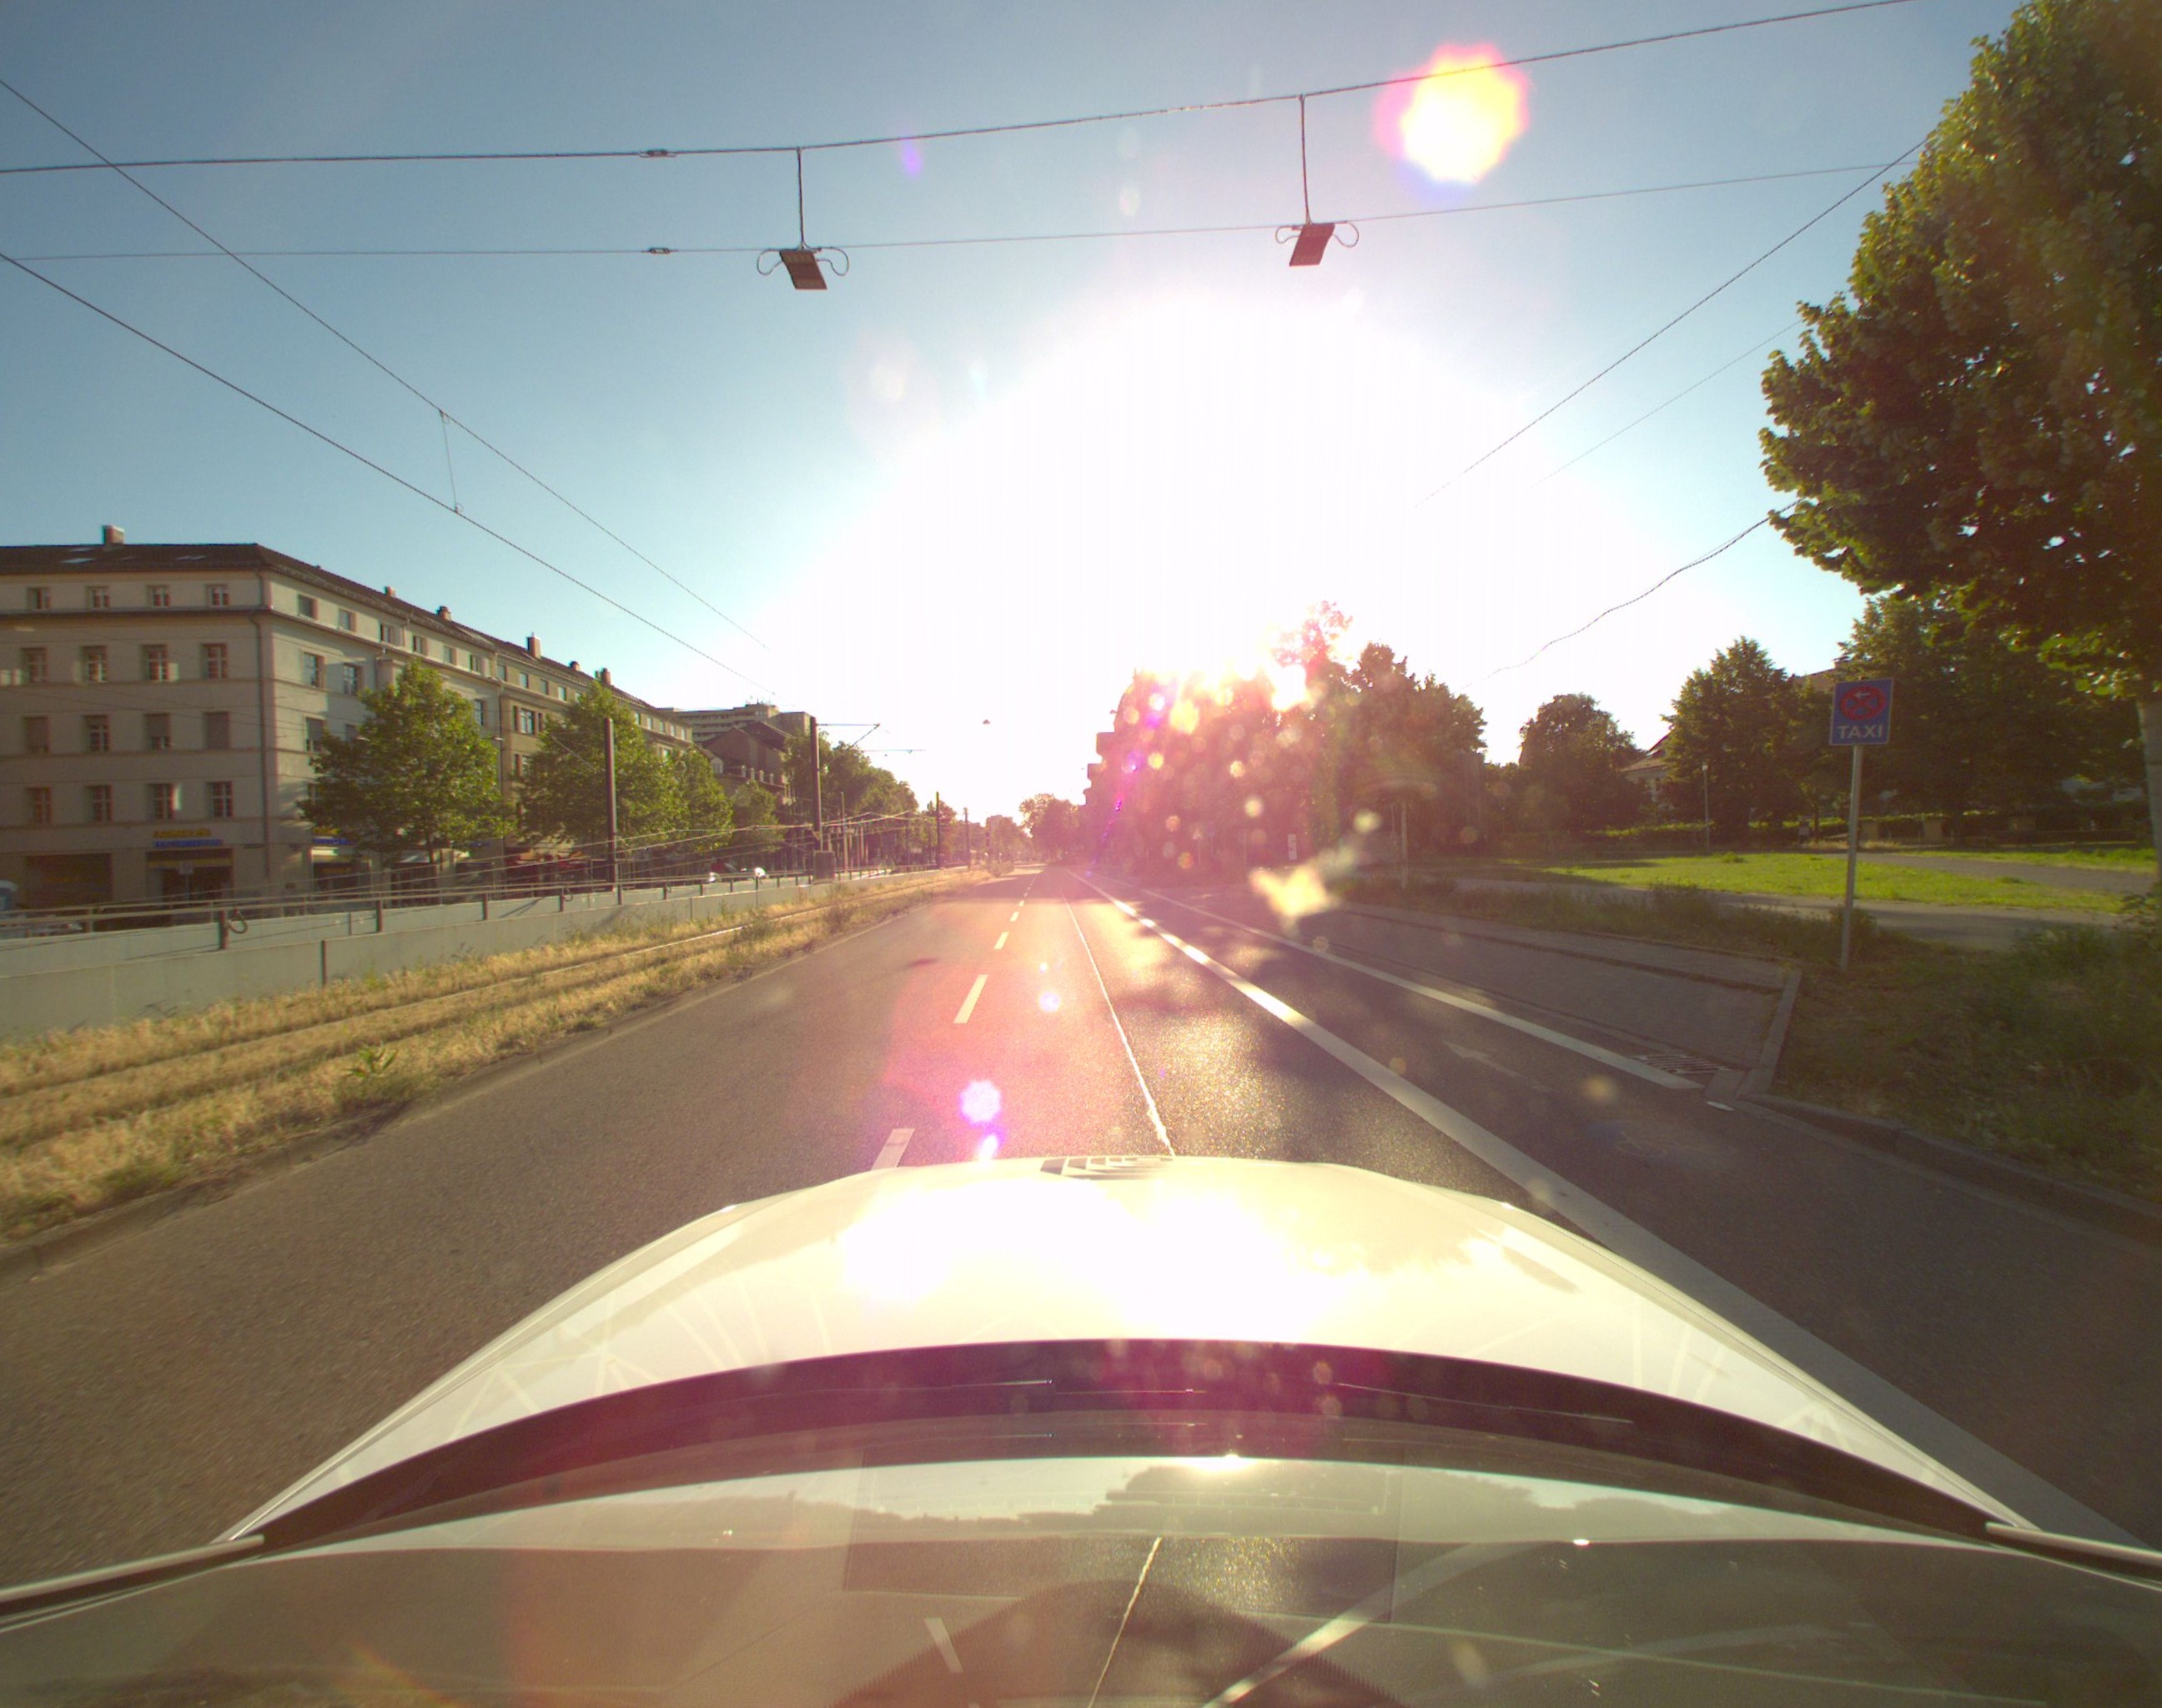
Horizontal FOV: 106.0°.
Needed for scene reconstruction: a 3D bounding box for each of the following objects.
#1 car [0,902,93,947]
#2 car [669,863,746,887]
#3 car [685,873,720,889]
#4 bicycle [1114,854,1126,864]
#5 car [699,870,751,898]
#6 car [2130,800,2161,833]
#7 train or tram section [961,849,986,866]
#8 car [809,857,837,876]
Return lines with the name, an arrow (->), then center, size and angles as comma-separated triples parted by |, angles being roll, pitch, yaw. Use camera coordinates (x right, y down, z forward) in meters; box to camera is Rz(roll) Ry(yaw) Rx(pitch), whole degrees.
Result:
car -> -40.696, 2.711, 30.906 | 3.974, 1.486, 1.898 | -3, 0, 0
car -> -41.483, 2.315, 90.554 | 7.262, 2.266, 2.464 | -3, 0, -8
car -> -34.128, 2.415, 73.545 | 1.450, 1.332, 3.708 | 0, -1, -1
bicycle -> 5.177, 0.694, 107.595 | 0.859, 1.196, 2.251 | -3, 0, 21
car -> -26.058, 2.134, 59.747 | 1.991, 1.819, 4.968 | -3, 0, -6
car -> 58.527, -2.089, 42.271 | 1.993, 1.718, 4.624 | -3, 0, -9
train or tram section -> -23.438, 0.772, 177.931 | 3.102, 3.559, 17.473 | -3, 0, 0
car -> -31.102, 1.531, 98.253 | 1.947, 2.134, 4.569 | -3, 0, -2
